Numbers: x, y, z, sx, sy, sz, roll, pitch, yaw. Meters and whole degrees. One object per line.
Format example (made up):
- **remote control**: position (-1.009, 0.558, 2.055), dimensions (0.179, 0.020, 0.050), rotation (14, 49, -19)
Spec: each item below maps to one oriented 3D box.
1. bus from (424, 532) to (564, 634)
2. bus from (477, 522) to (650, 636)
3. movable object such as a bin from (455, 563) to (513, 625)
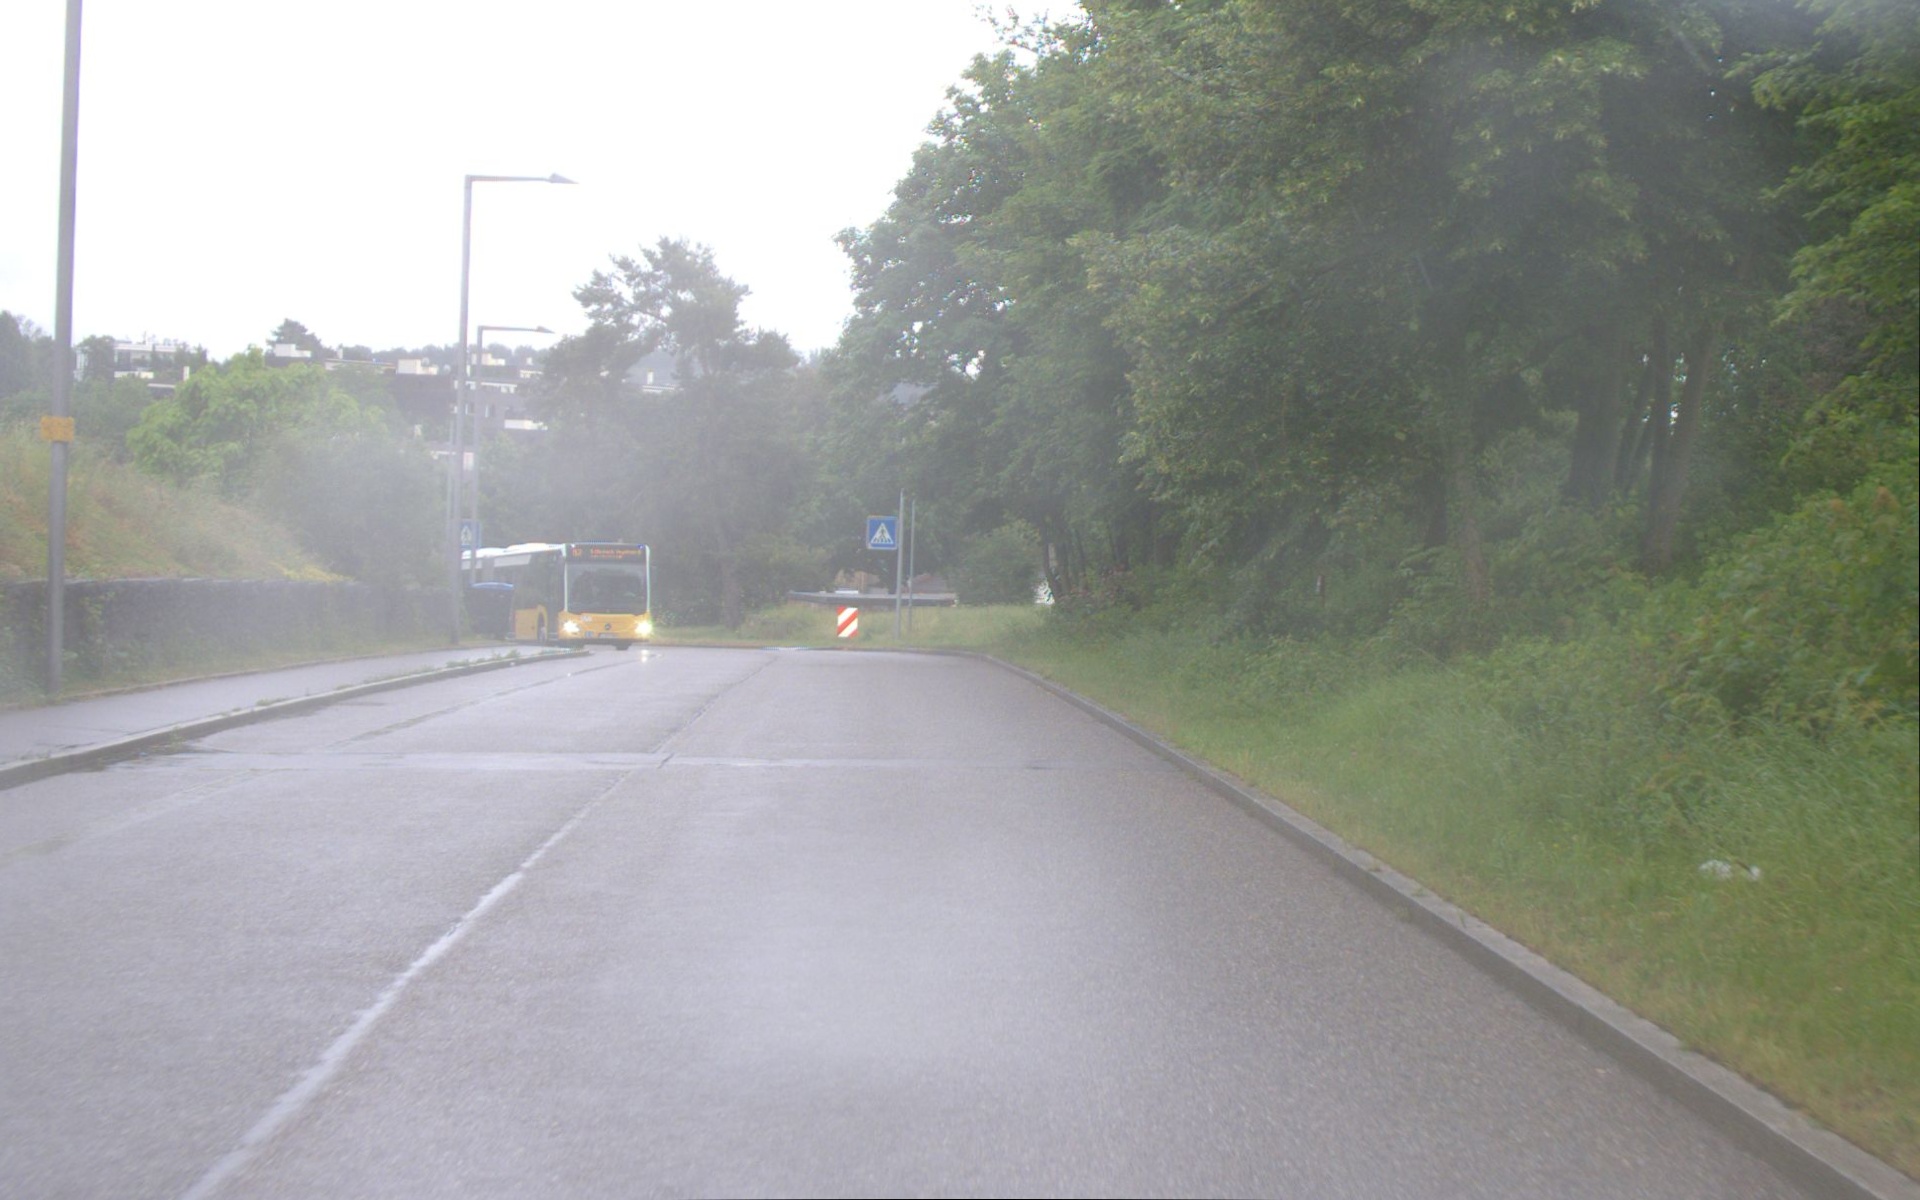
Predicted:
- **bus**: position (-14.580, -0.510, 107.117), dimensions (2.639, 3.022, 7.667), rotation (1, 0, -20)
- **bus**: position (-11.465, -0.535, 98.438), dimensions (2.639, 3.057, 10.858), rotation (1, 0, -19)
- **movable object such as a bin**: position (-10.896, -0.128, 78.639), dimensions (1.131, 1.335, 1.399), rotation (4, -1, -11)
